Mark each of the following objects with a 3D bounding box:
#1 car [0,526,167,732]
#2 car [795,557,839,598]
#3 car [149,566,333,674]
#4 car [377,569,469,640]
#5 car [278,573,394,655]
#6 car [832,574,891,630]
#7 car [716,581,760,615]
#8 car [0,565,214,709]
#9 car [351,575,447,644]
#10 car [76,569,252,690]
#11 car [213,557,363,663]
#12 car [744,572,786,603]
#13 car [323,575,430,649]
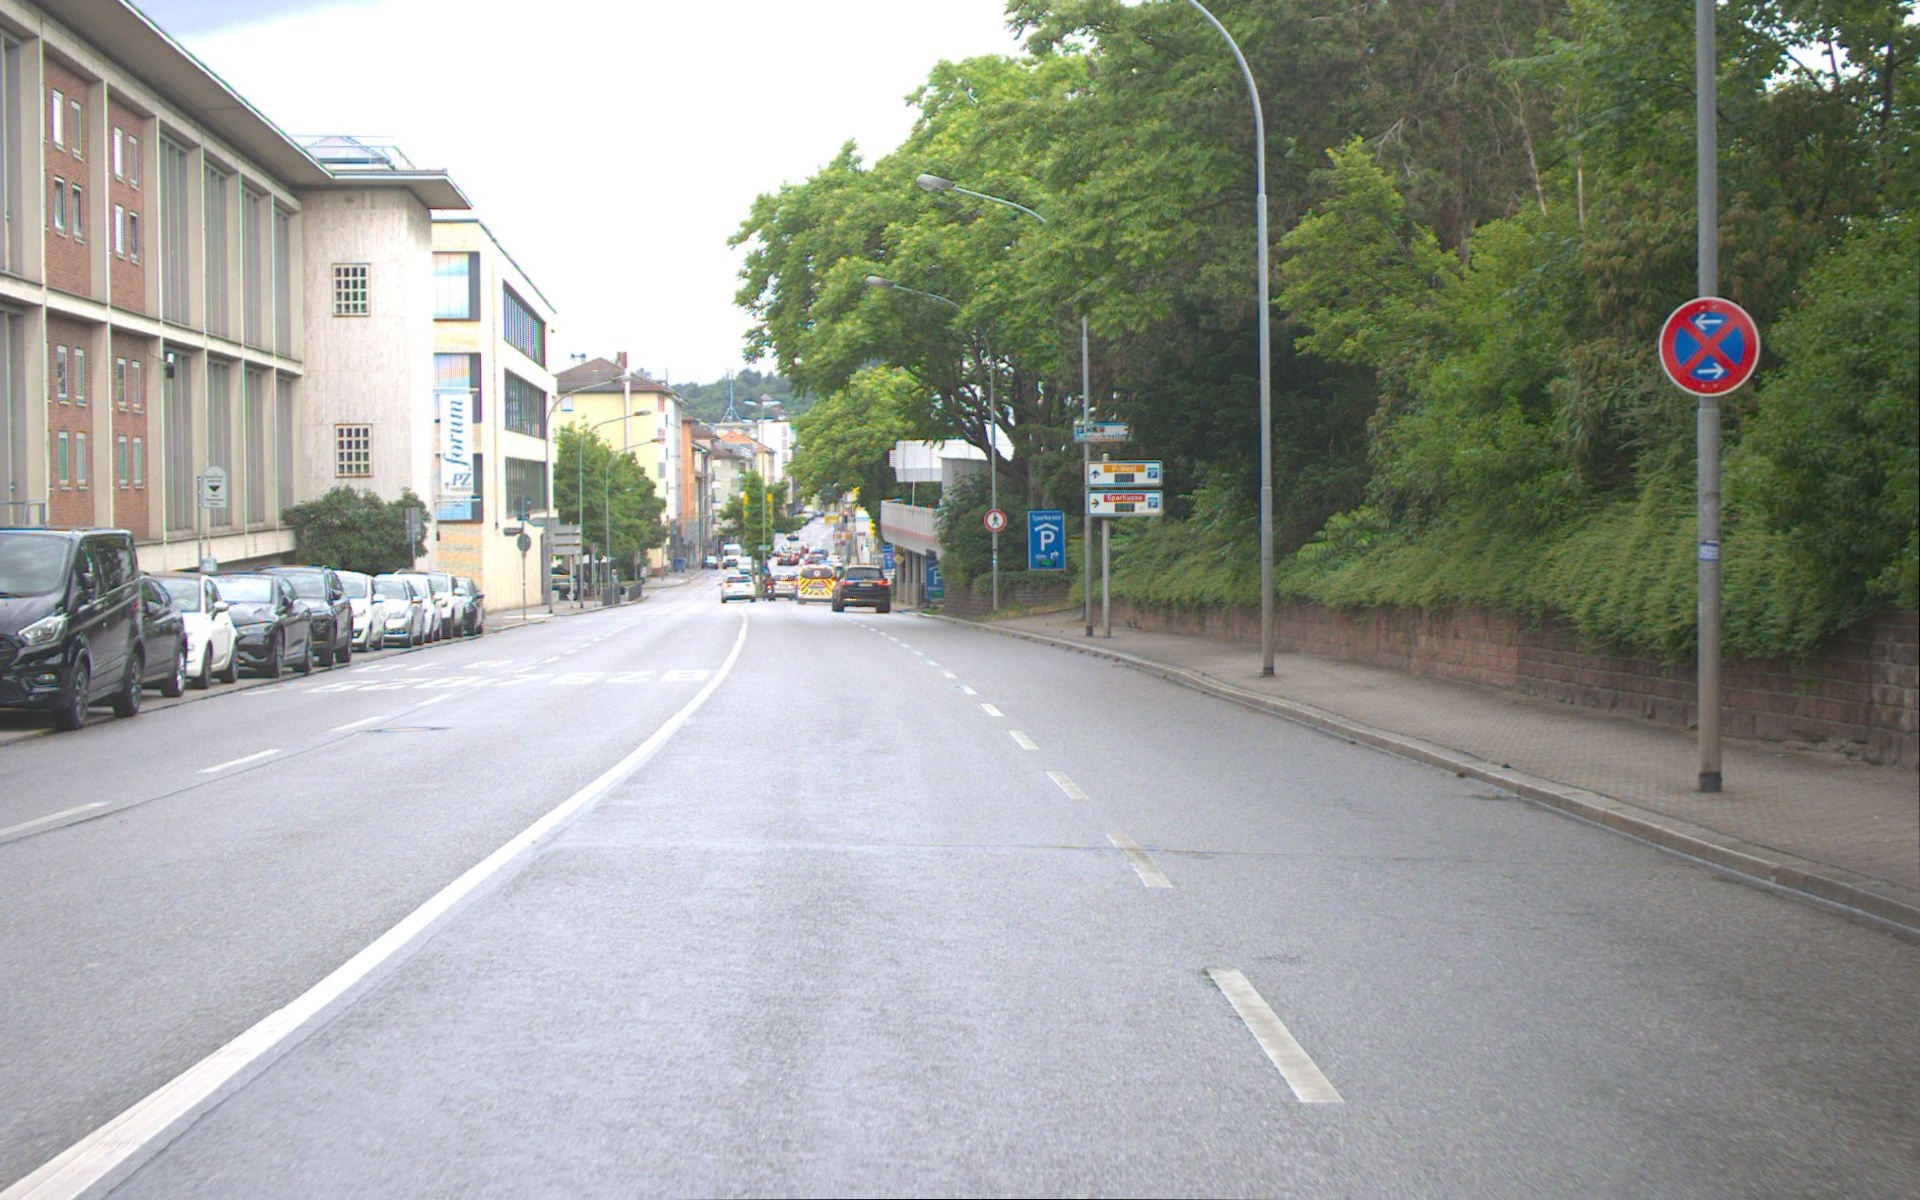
[{"bbox_3d":[-9.555,0.239,34.921,1.949,1.937,4.996,-1,1,-2],"label":"car"},{"bbox_3d":[-6.823,-1.088,164.494,1.993,1.831,4.001,-2,2,-2],"label":"car"},{"bbox_3d":[-10.532,0.253,50.686,1.815,1.479,4.910,0,1,-2],"label":"car"},{"bbox_3d":[-12.734,0.091,81.701,1.748,1.592,4.182,1,0,-4],"label":"car"},{"bbox_3d":[-11.894,0.236,65.717,1.679,1.517,3.921,0,0,-3],"label":"car"},{"bbox_3d":[-3.744,0.058,130.265,2.091,1.904,4.100,-2,2,-2],"label":"car"},{"bbox_3d":[-11.706,-0.114,181.210,1.993,1.674,4.001,0,1,-8],"label":"car"},{"bbox_3d":[-10.140,0.395,40.504,1.860,1.546,4.313,-1,1,-2],"label":"car"},{"bbox_3d":[-12.432,0.184,76.394,1.747,1.449,4.182,1,0,-5],"label":"car"},{"bbox_3d":[-10.420,0.352,45.220,1.566,1.479,3.553,-1,1,-2],"label":"car"},{"bbox_3d":[-10.990,0.157,56.464,1.841,1.647,4.516,1,0,-4],"label":"car"},{"bbox_3d":[-10.879,-0.701,191.541,1.993,1.674,4.001,0,1,-8],"label":"car"},{"bbox_3d":[-12.005,0.238,70.944,1.747,1.430,4.487,1,0,-5],"label":"car"}]
